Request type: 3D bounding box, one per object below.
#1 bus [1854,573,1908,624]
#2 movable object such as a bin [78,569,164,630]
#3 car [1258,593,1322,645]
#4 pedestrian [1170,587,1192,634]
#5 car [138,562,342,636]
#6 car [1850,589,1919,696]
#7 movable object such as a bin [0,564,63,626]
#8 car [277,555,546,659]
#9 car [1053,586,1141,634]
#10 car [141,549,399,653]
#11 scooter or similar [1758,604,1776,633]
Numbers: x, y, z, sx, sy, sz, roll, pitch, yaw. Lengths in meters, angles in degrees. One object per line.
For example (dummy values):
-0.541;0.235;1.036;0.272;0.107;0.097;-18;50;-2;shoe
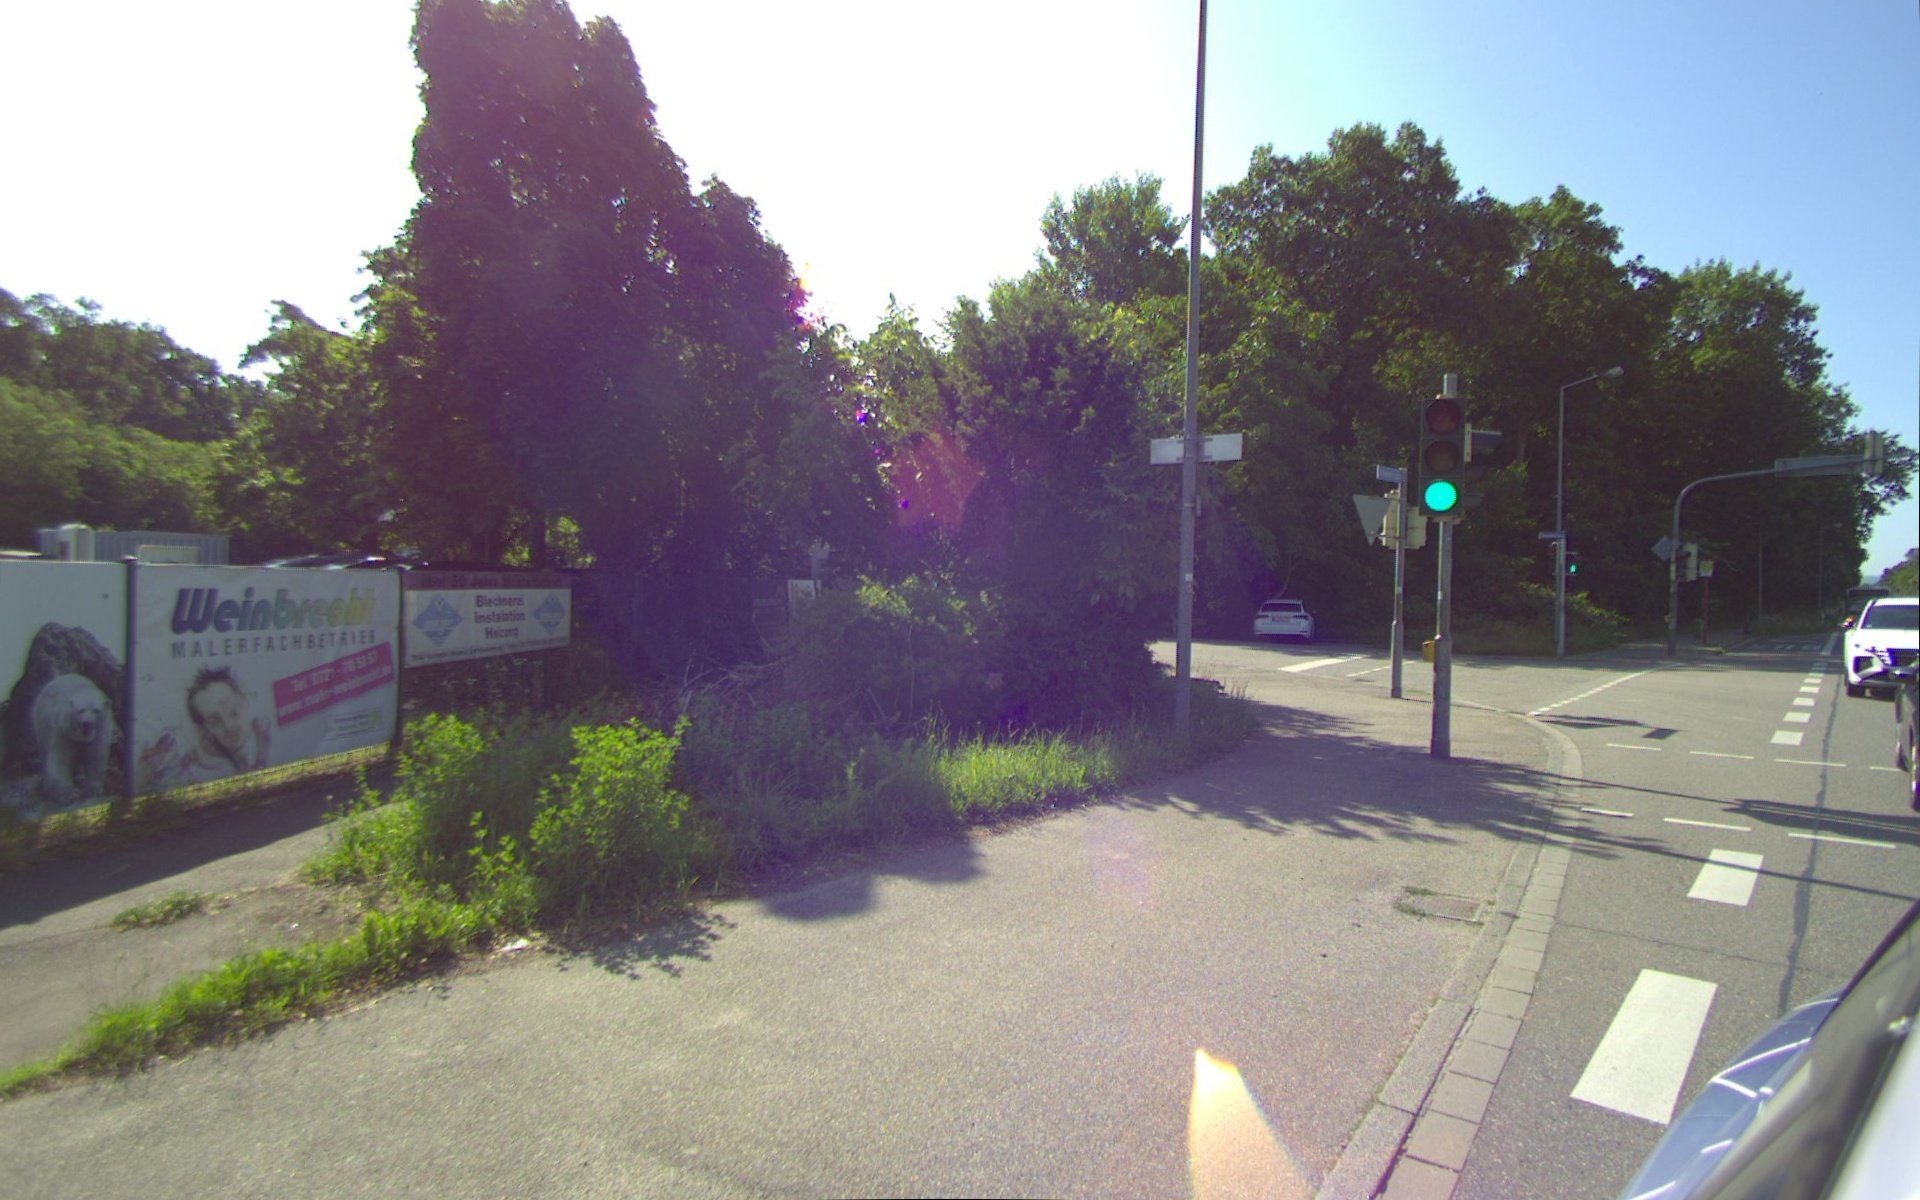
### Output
66.869;-0.148;73.572;2.773;3.501;7.676;0;0;42;bus
-18.691;-0.026;22.564;1.213;1.306;0.865;1;1;5;movable object such as a bin
10.696;0.542;32.614;1.610;1.482;4.581;2;1;22;car
7.785;0.373;35.637;0.597;1.650;0.416;1;1;-16;pedestrian
-15.985;-0.043;22.549;1.679;1.456;3.456;4;3;43;car
16.479;0.662;17.045;4.234;1.669;1.810;0;0;-43;car
-20.946;-0.124;22.505;1.210;1.341;0.850;1;1;-4;movable object such as a bin
-9.653;0.093;18.049;1.676;1.649;3.883;1;1;40;car
4.622;0.315;34.597;1.594;1.482;3.799;1;1;-15;car
-13.489;-0.080;19.965;1.676;1.815;3.884;2;4;40;car
37.718;0.871;47.315;0.397;1.323;1.317;2;1;28;scooter or similar
